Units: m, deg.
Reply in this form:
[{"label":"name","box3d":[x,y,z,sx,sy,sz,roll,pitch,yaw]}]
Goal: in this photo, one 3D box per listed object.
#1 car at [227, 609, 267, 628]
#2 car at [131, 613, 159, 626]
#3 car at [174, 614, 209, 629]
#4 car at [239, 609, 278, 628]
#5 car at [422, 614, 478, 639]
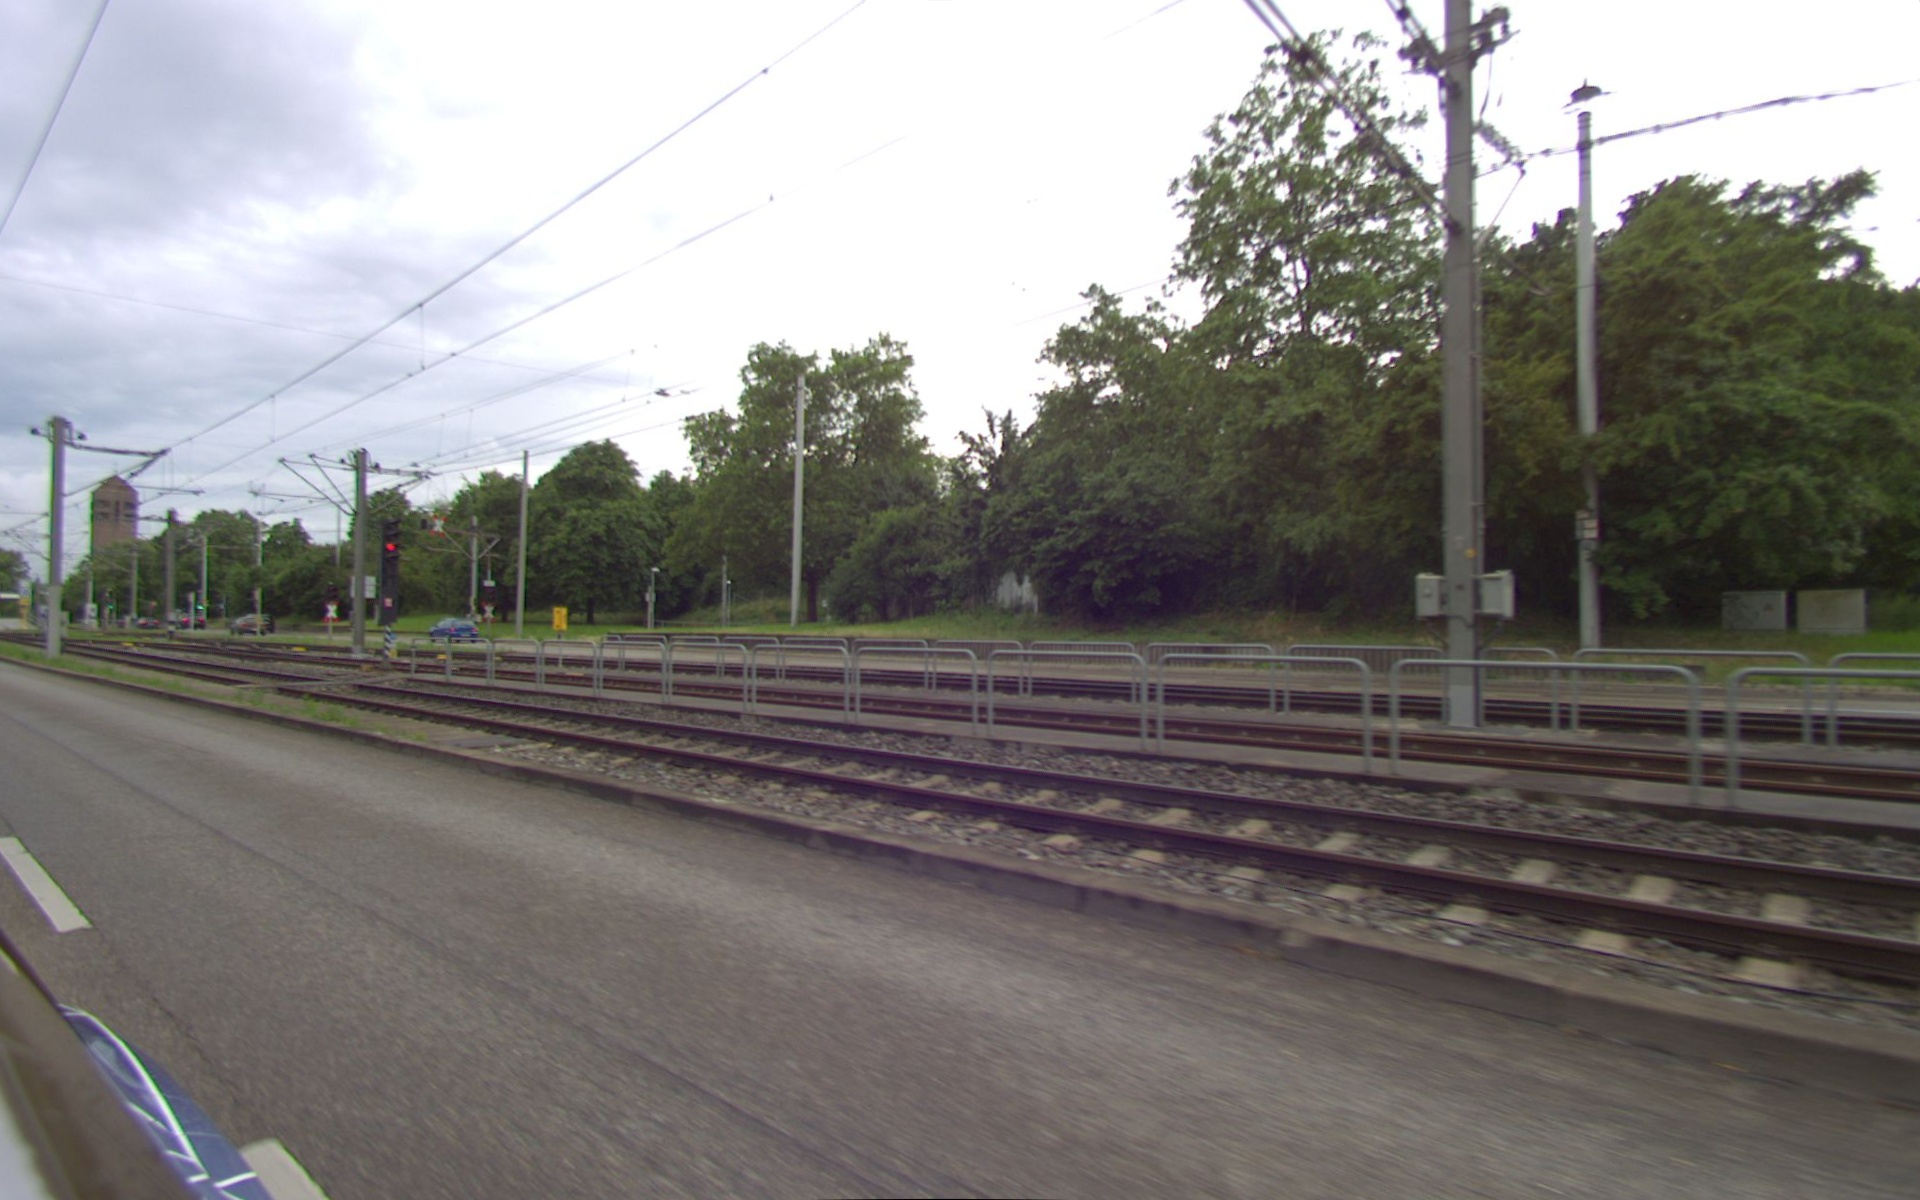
[{"label":"car","box3d":[-56.633,1.447,80.353,4.310,1.497,1.869,-1,-2,44]},{"label":"car","box3d":[-95.971,2.301,119.149,4.681,1.458,1.906,-1,-2,42]},{"label":"car","box3d":[-79.929,2.233,105.196,5.159,1.601,2.066,-1,-2,44]},{"label":"car","box3d":[-61.614,1.611,88.836,4.848,1.607,1.926,-1,-2,44]},{"label":"car","box3d":[-29.764,1.515,59.067,3.902,1.408,1.741,-1,-2,44]}]
